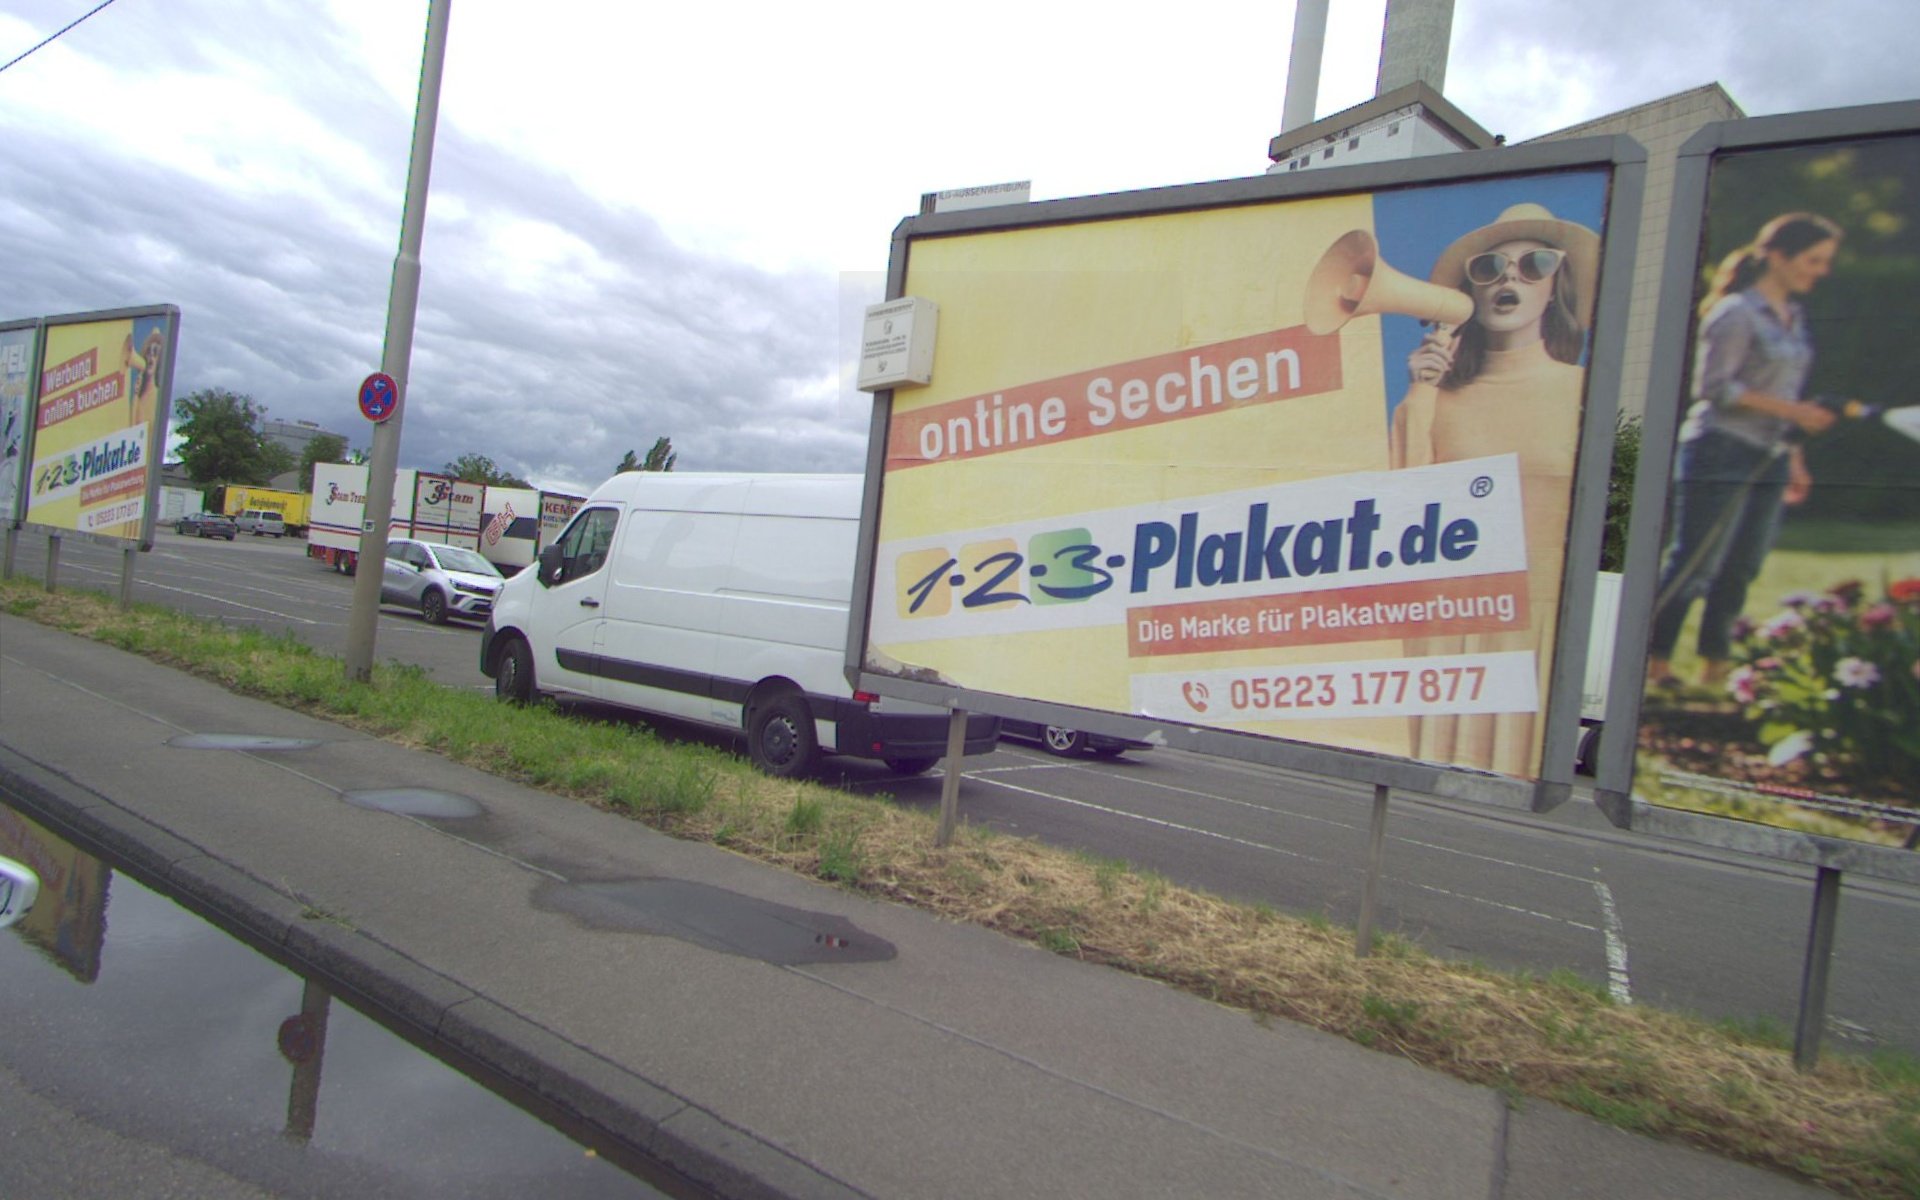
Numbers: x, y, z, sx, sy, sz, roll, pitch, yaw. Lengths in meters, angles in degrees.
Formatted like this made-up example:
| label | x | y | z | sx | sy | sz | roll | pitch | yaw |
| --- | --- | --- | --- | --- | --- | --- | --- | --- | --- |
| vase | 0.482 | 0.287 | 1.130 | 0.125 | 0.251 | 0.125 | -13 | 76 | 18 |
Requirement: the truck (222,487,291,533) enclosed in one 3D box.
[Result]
| label | x | y | z | sx | sy | sz | roll | pitch | yaw |
| --- | --- | --- | --- | --- | --- | --- | --- | --- | --- |
| truck | -65.107 | -8.340 | 93.132 | 5.413 | 3.505 | 3.037 | 8 | 0 | 32 |

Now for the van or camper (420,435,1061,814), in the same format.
| label | x | y | z | sx | sy | sz | roll | pitch | yaw |
| --- | --- | --- | --- | --- | --- | --- | --- | --- | --- |
| van or camper | -2.347 | 0.005 | 9.754 | 6.014 | 2.679 | 2.258 | 7 | -1 | 33 |

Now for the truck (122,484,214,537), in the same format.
| label | x | y | z | sx | sy | sz | roll | pitch | yaw |
| --- | --- | --- | --- | --- | --- | --- | --- | --- | --- |
| truck | -62.153 | -7.070 | 78.883 | 7.385 | 3.183 | 3.179 | 8 | 0 | 33 |

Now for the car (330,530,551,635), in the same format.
| label | x | y | z | sx | sy | sz | roll | pitch | yaw |
| --- | --- | --- | --- | --- | --- | --- | --- | --- | --- |
| car | -10.843 | -0.374 | 20.953 | 4.353 | 1.631 | 1.893 | 6 | -1 | 30 |

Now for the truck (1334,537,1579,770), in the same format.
| label | x | y | z | sx | sy | sz | roll | pitch | yaw |
| --- | --- | --- | --- | --- | --- | --- | --- | --- | --- |
| truck | 10.680 | 1.116 | 22.117 | 4.001 | 4.264 | 2.708 | 8 | 0 | 19 |

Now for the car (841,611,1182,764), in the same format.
| label | x | y | z | sx | sy | sz | roll | pitch | yaw |
| --- | --- | --- | --- | --- | --- | --- | --- | --- | --- |
| car | 0.671 | 1.200 | 14.312 | 4.356 | 1.461 | 1.894 | 6 | -3 | 33 |

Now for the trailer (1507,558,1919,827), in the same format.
| label | x | y | z | sx | sy | sz | roll | pitch | yaw |
| --- | --- | --- | --- | --- | --- | --- | --- | --- | --- |
| trailer | 18.484 | 2.157 | 19.411 | 13.235 | 4.230 | 2.707 | 8 | 0 | 19 |

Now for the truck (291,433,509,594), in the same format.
| label | x | y | z | sx | sy | sz | roll | pitch | yaw |
| --- | --- | --- | --- | --- | --- | --- | --- | --- | --- |
| truck | -21.240 | -3.343 | 37.973 | 8.376 | 5.155 | 3.310 | 7 | 0 | 34 |

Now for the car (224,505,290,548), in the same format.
| label | x | y | z | sx | sy | sz | roll | pitch | yaw |
| --- | --- | --- | --- | --- | --- | --- | --- | --- | --- |
| car | -53.649 | -5.617 | 76.760 | 5.282 | 2.679 | 2.093 | 7 | 0 | 33 |

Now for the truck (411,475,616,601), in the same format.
| label | x | y | z | sx | sy | sz | roll | pitch | yaw |
| --- | --- | --- | --- | --- | --- | --- | --- | --- | --- |
| truck | -18.290 | -2.585 | 40.980 | 8.377 | 4.196 | 3.310 | 7 | 0 | 34 |

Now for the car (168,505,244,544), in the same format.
| label | x | y | z | sx | sy | sz | roll | pitch | yaw |
| --- | --- | --- | --- | --- | --- | --- | --- | --- | --- |
| car | -44.068 | -4.426 | 58.786 | 4.117 | 1.726 | 1.997 | 7 | -1 | 30 |

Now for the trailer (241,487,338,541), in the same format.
| label | x | y | z | sx | sy | sz | roll | pitch | yaw |
| --- | --- | --- | --- | --- | --- | --- | --- | --- | --- |
| trailer | -60.098 | -7.715 | 90.059 | 9.969 | 3.672 | 3.037 | 8 | 0 | 31 |
